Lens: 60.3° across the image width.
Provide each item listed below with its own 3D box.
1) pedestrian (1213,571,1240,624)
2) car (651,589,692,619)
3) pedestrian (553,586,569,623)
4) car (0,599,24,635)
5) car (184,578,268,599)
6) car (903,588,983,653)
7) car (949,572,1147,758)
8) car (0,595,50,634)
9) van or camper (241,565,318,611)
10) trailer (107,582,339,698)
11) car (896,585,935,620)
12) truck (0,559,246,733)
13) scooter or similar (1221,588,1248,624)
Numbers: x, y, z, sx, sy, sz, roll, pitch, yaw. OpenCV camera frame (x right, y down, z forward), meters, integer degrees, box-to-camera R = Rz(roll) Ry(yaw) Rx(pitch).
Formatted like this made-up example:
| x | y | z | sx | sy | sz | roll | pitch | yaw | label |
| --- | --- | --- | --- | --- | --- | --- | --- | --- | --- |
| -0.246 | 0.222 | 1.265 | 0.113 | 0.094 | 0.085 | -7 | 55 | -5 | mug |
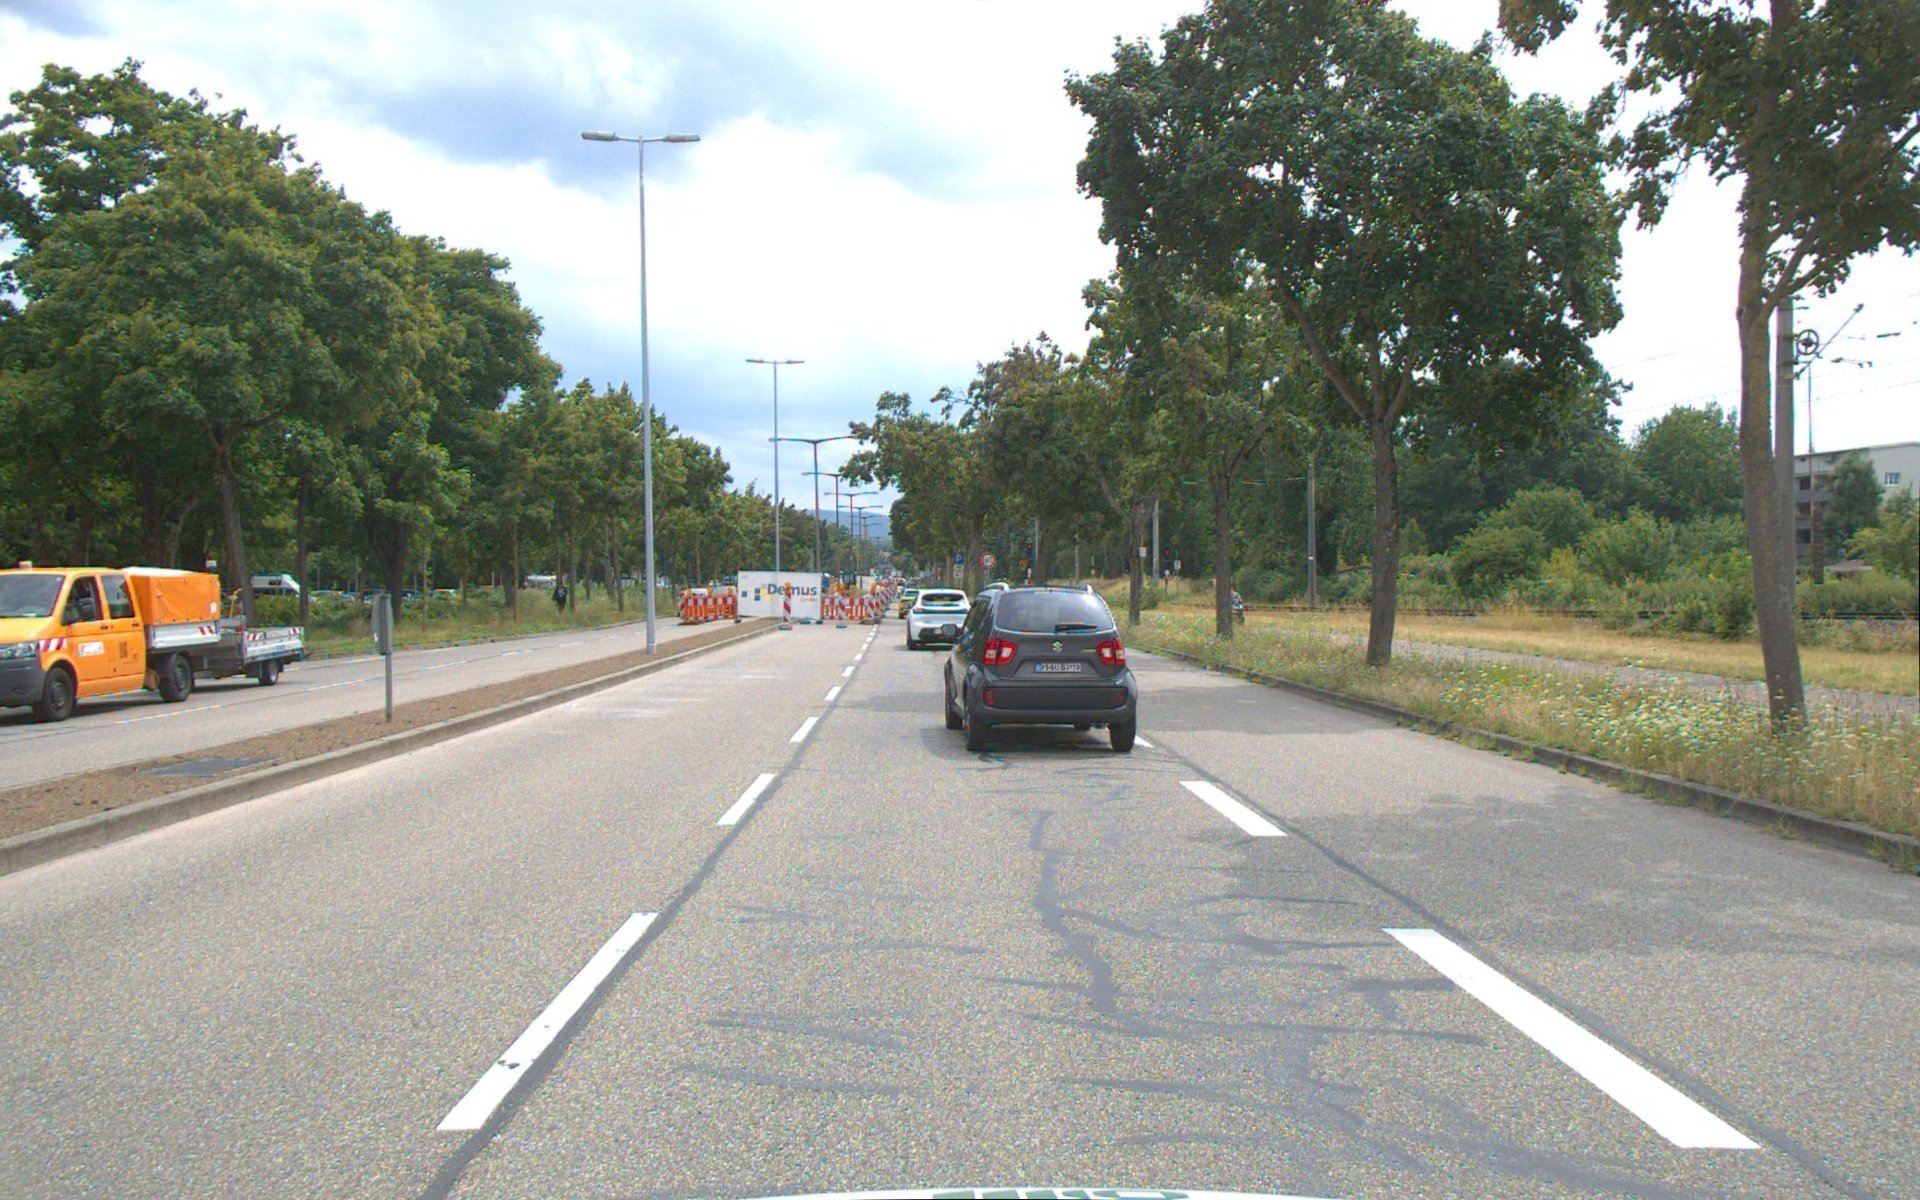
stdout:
| x | y | z | sx | sy | sz | roll | pitch | yaw | label |
| --- | --- | --- | --- | --- | --- | --- | --- | --- | --- |
| 8.812 | -0.100 | 54.682 | 0.677 | 1.725 | 0.933 | 0 | 1 | -6 | pedestrian |
| -15.656 | 0.184 | 89.920 | 1.656 | 1.502 | 3.999 | -2 | 1 | -2 | car |
| -20.367 | 0.231 | 84.394 | 0.681 | 1.870 | 0.647 | -1 | 1 | -23 | pedestrian |
| -39.895 | 0.691 | 66.562 | 3.574 | 1.436 | 1.517 | 0 | 1 | 1 | car |
| -42.102 | -0.654 | 94.906 | 3.906 | 1.182 | 1.926 | 0 | 1 | -2 | car |
| -0.470 | 0.470 | 41.170 | 1.732 | 1.489 | 3.997 | 0 | 1 | -5 | car |
| 0.797 | 0.564 | 17.207 | 1.669 | 1.697 | 3.998 | 0 | 1 | -3 | car |
| -40.422 | 0.604 | 69.281 | 3.574 | 1.546 | 1.883 | 0 | 1 | 1 | car |
| -41.843 | -0.740 | 101.822 | 3.906 | 2.804 | 1.926 | 0 | 1 | -2 | van or camper |
| -12.044 | 0.608 | 27.342 | 2.020 | 1.719 | 3.895 | -2 | 0 | 0 | trailer |
| -2.126 | 0.082 | 80.113 | 1.757 | 1.589 | 4.000 | 0 | 1 | 0 | car |
| -12.011 | 0.511 | 22.416 | 2.046 | 2.029 | 6.038 | -2 | 1 | -1 | truck |
| 8.917 | 0.199 | 53.752 | 0.668 | 1.149 | 0.933 | 0 | 1 | -6 | scooter or similar |
